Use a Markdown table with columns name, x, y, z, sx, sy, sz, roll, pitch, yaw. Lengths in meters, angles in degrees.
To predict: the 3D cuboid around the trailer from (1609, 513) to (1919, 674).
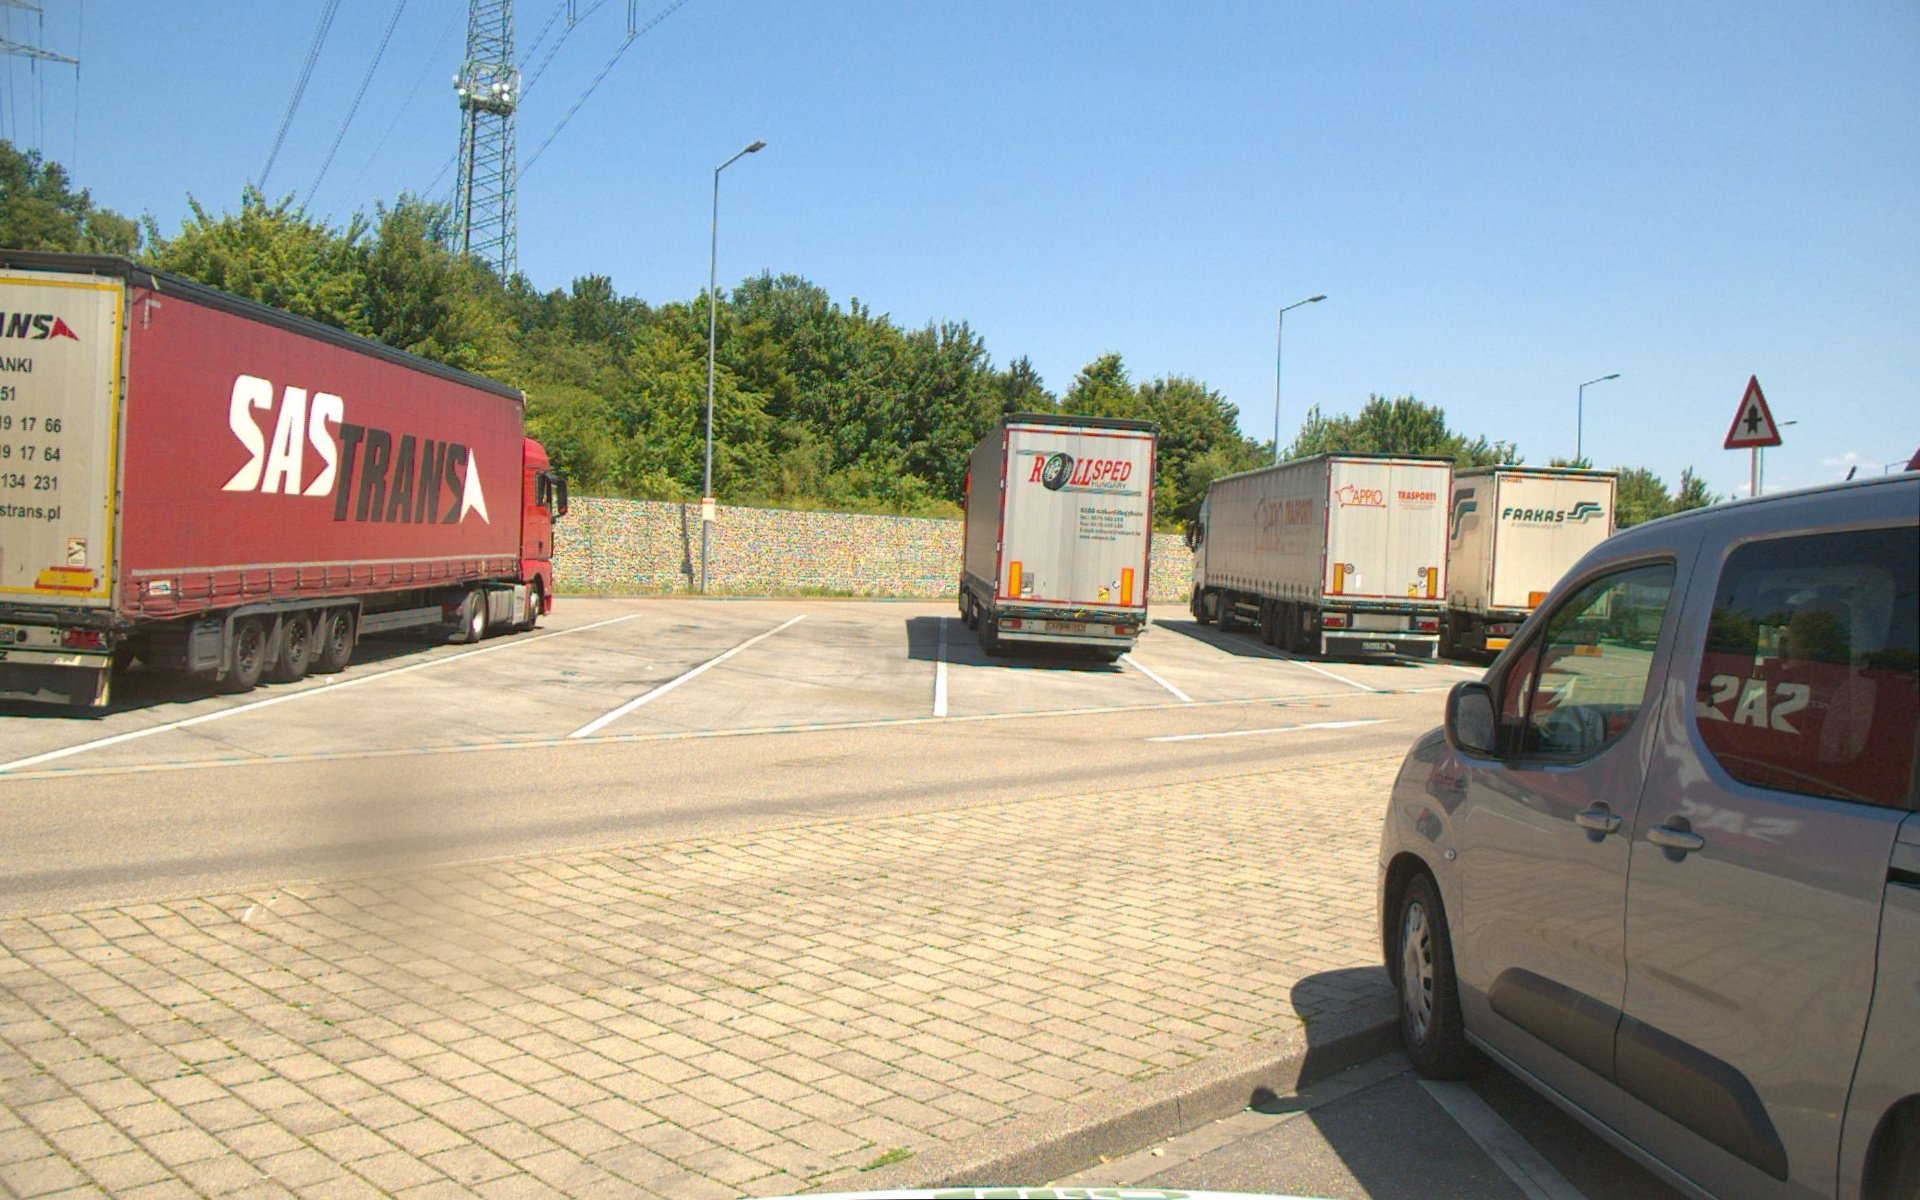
| name | x | y | z | sx | sy | sz | roll | pitch | yaw |
| --- | --- | --- | --- | --- | --- | --- | --- | --- | --- |
| trailer | 21.853 | -0.396 | 44.523 | 2.754 | 3.568 | 14.395 | 3 | 2 | -1 |

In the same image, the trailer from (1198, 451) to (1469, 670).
| name | x | y | z | sx | sy | sz | roll | pitch | yaw |
| --- | --- | --- | --- | --- | --- | --- | --- | --- | --- |
| trailer | 8.180 | -1.037 | 38.867 | 2.754 | 4.058 | 14.395 | 3 | 2 | -1 |

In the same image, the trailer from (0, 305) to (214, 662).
| name | x | y | z | sx | sy | sz | roll | pitch | yaw |
| --- | --- | --- | --- | --- | --- | --- | --- | --- | --- |
| trailer | -12.542 | -1.345 | 17.729 | 2.739 | 4.155 | 14.131 | 3 | 2 | -1 |

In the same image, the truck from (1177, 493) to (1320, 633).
| name | x | y | z | sx | sy | sz | roll | pitch | yaw |
| --- | --- | --- | --- | --- | --- | --- | --- | --- | --- |
| truck | 8.063 | -1.101 | 46.967 | 2.805 | 3.582 | 5.900 | 3 | 2 | -1 |

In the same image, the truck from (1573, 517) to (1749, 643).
| name | x | y | z | sx | sy | sz | roll | pitch | yaw |
| --- | --- | --- | --- | --- | --- | --- | --- | --- | --- |
| truck | 21.775 | -0.702 | 51.753 | 2.746 | 3.582 | 5.900 | 3 | 2 | -1 |

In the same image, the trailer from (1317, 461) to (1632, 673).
| name | x | y | z | sx | sy | sz | roll | pitch | yaw |
| --- | --- | --- | --- | --- | --- | --- | --- | --- | --- |
| trailer | 11.743 | -0.942 | 39.972 | 2.754 | 4.058 | 14.395 | 3 | 2 | -1 |

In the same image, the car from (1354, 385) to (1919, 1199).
| name | x | y | z | sx | sy | sz | roll | pitch | yaw |
| --- | --- | --- | --- | --- | --- | --- | --- | --- | --- |
| car | 2.450 | 0.598 | 3.872 | 1.832 | 1.895 | 4.174 | 3 | 1 | -2 |

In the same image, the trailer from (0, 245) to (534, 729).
| name | x | y | z | sx | sy | sz | roll | pitch | yaw |
| --- | --- | --- | --- | --- | --- | --- | --- | --- | --- |
| trailer | -8.715 | -1.299 | 21.451 | 2.735 | 4.155 | 14.131 | 3 | 2 | -1 |

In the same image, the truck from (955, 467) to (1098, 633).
| name | x | y | z | sx | sy | sz | roll | pitch | yaw |
| --- | --- | --- | --- | --- | --- | --- | --- | --- | --- |
| truck | 1.511 | -1.248 | 40.548 | 3.041 | 3.628 | 5.900 | 3 | 2 | -1 |

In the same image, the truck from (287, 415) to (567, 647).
| name | x | y | z | sx | sy | sz | roll | pitch | yaw |
| --- | --- | --- | --- | --- | --- | --- | --- | --- | --- |
| truck | -8.781 | -1.160 | 28.022 | 2.793 | 3.385 | 5.900 | 3 | 2 | -1 |

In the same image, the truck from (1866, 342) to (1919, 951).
| name | x | y | z | sx | sy | sz | roll | pitch | yaw |
| --- | --- | --- | --- | --- | --- | --- | --- | --- | --- |
| truck | 5.012 | 0.196 | 4.996 | 1.937 | 2.668 | 5.307 | 1 | 0 | 4 |

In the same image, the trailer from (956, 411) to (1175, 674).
| name | x | y | z | sx | sy | sz | roll | pitch | yaw |
| --- | --- | --- | --- | --- | --- | --- | --- | --- | --- |
| trailer | 1.668 | -1.201 | 33.658 | 3.070 | 4.058 | 14.393 | 3 | 2 | -1 |
